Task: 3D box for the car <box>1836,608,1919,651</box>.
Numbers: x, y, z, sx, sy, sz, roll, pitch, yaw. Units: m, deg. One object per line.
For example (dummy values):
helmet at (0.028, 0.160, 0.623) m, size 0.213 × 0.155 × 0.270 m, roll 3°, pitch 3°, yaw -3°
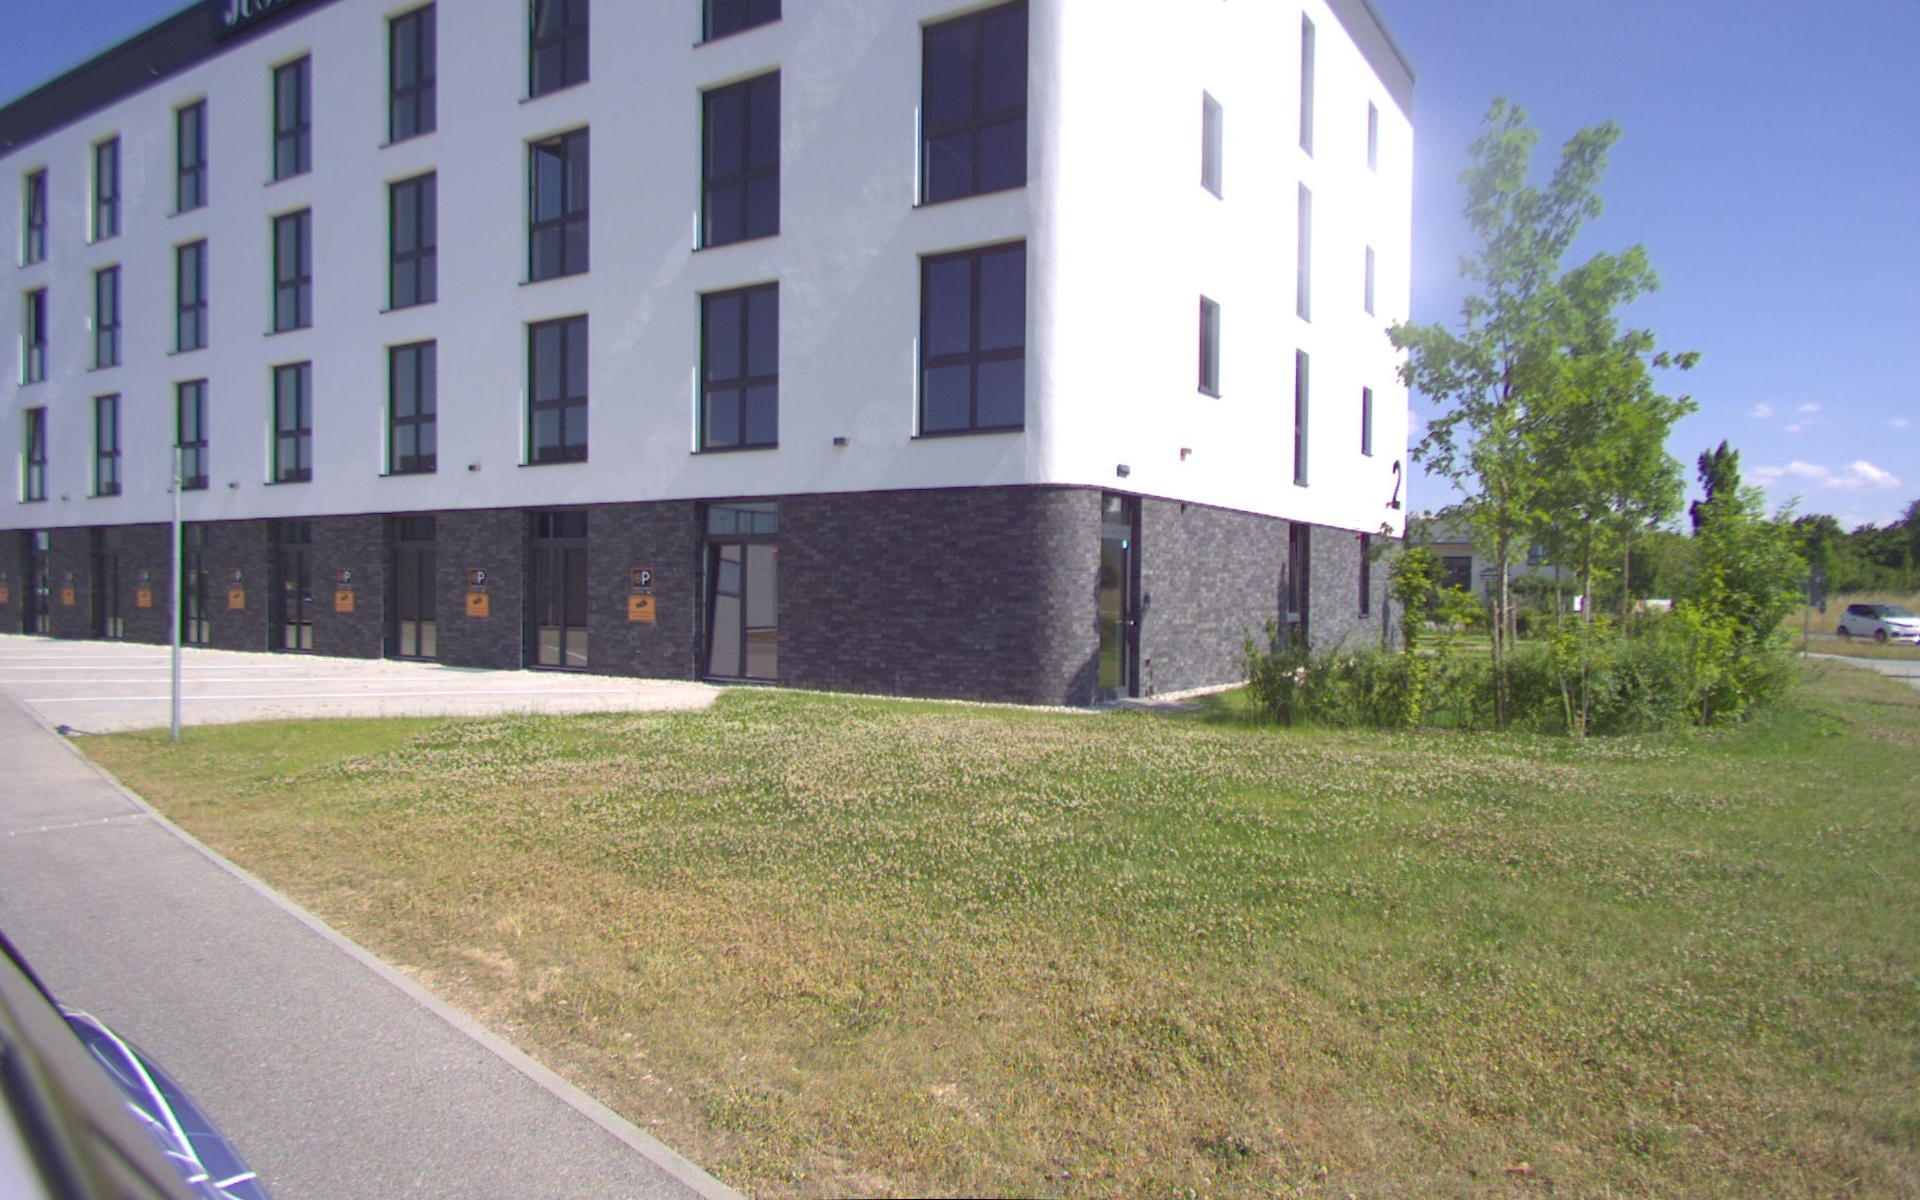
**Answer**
car at (33.932, 1.049, 36.920) m, size 1.461 × 1.501 × 2.995 m, roll 0°, pitch -1°, yaw 6°
